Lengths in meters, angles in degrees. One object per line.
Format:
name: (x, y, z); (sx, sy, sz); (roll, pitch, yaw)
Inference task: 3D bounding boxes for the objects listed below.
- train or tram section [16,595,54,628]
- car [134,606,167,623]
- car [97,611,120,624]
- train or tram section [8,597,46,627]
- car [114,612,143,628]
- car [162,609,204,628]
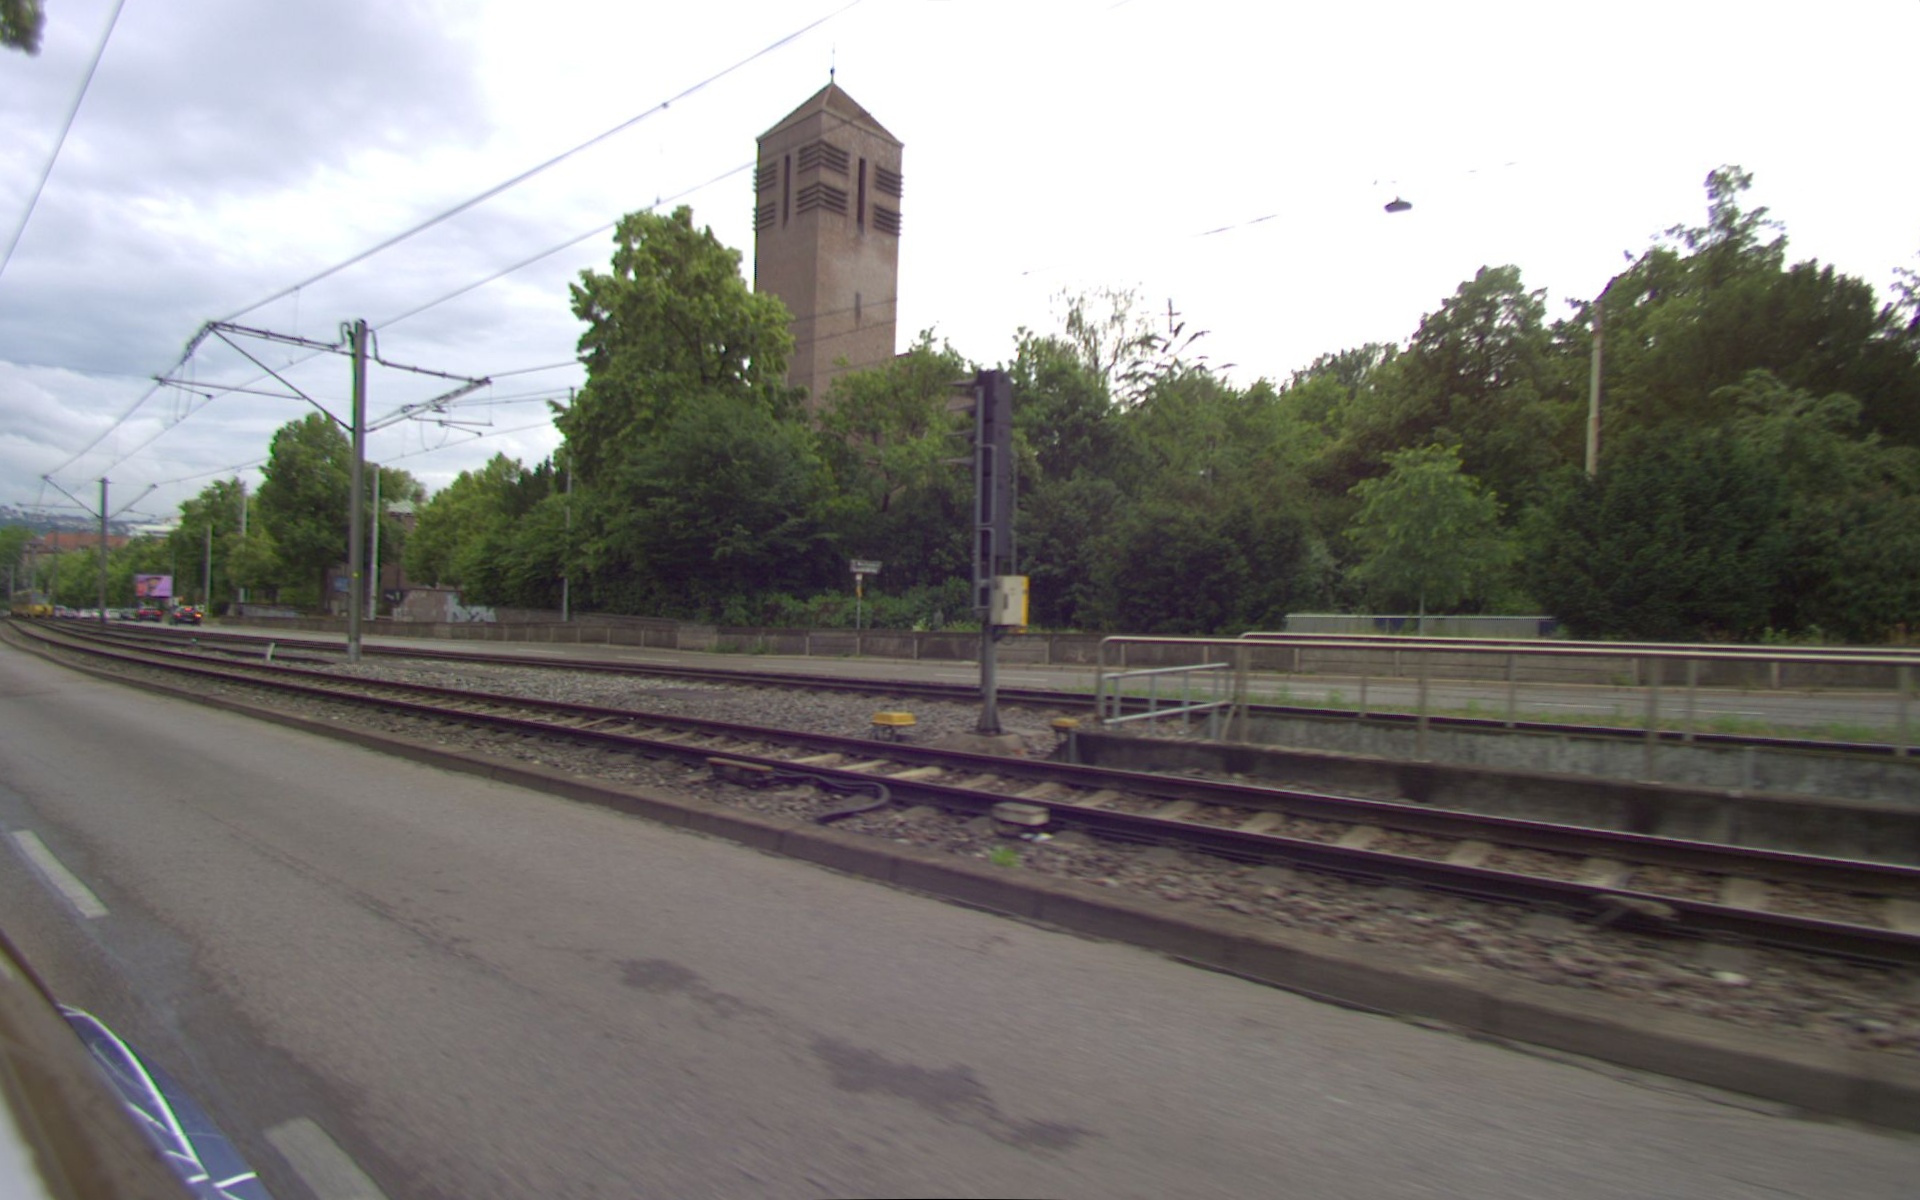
train or tram section: (-118.743, 1.544, 129.860); (2.796, 4.006, 17.886); (1, -2, -45)
car: (-82.361, 1.515, 102.905); (4.525, 1.656, 1.971); (-1, -3, 44)
car: (-106.408, 2.212, 126.450); (3.986, 1.479, 1.727); (-1, -4, 44)
train or tram section: (-131.974, 1.812, 143.005); (20.033, 4.006, 2.797); (-1, -2, 44)
car: (-93.933, 2.274, 114.348); (4.413, 1.656, 1.971); (-1, -3, 44)
car: (-64.373, 1.518, 83.838); (4.321, 1.452, 1.944); (-1, -2, 42)
